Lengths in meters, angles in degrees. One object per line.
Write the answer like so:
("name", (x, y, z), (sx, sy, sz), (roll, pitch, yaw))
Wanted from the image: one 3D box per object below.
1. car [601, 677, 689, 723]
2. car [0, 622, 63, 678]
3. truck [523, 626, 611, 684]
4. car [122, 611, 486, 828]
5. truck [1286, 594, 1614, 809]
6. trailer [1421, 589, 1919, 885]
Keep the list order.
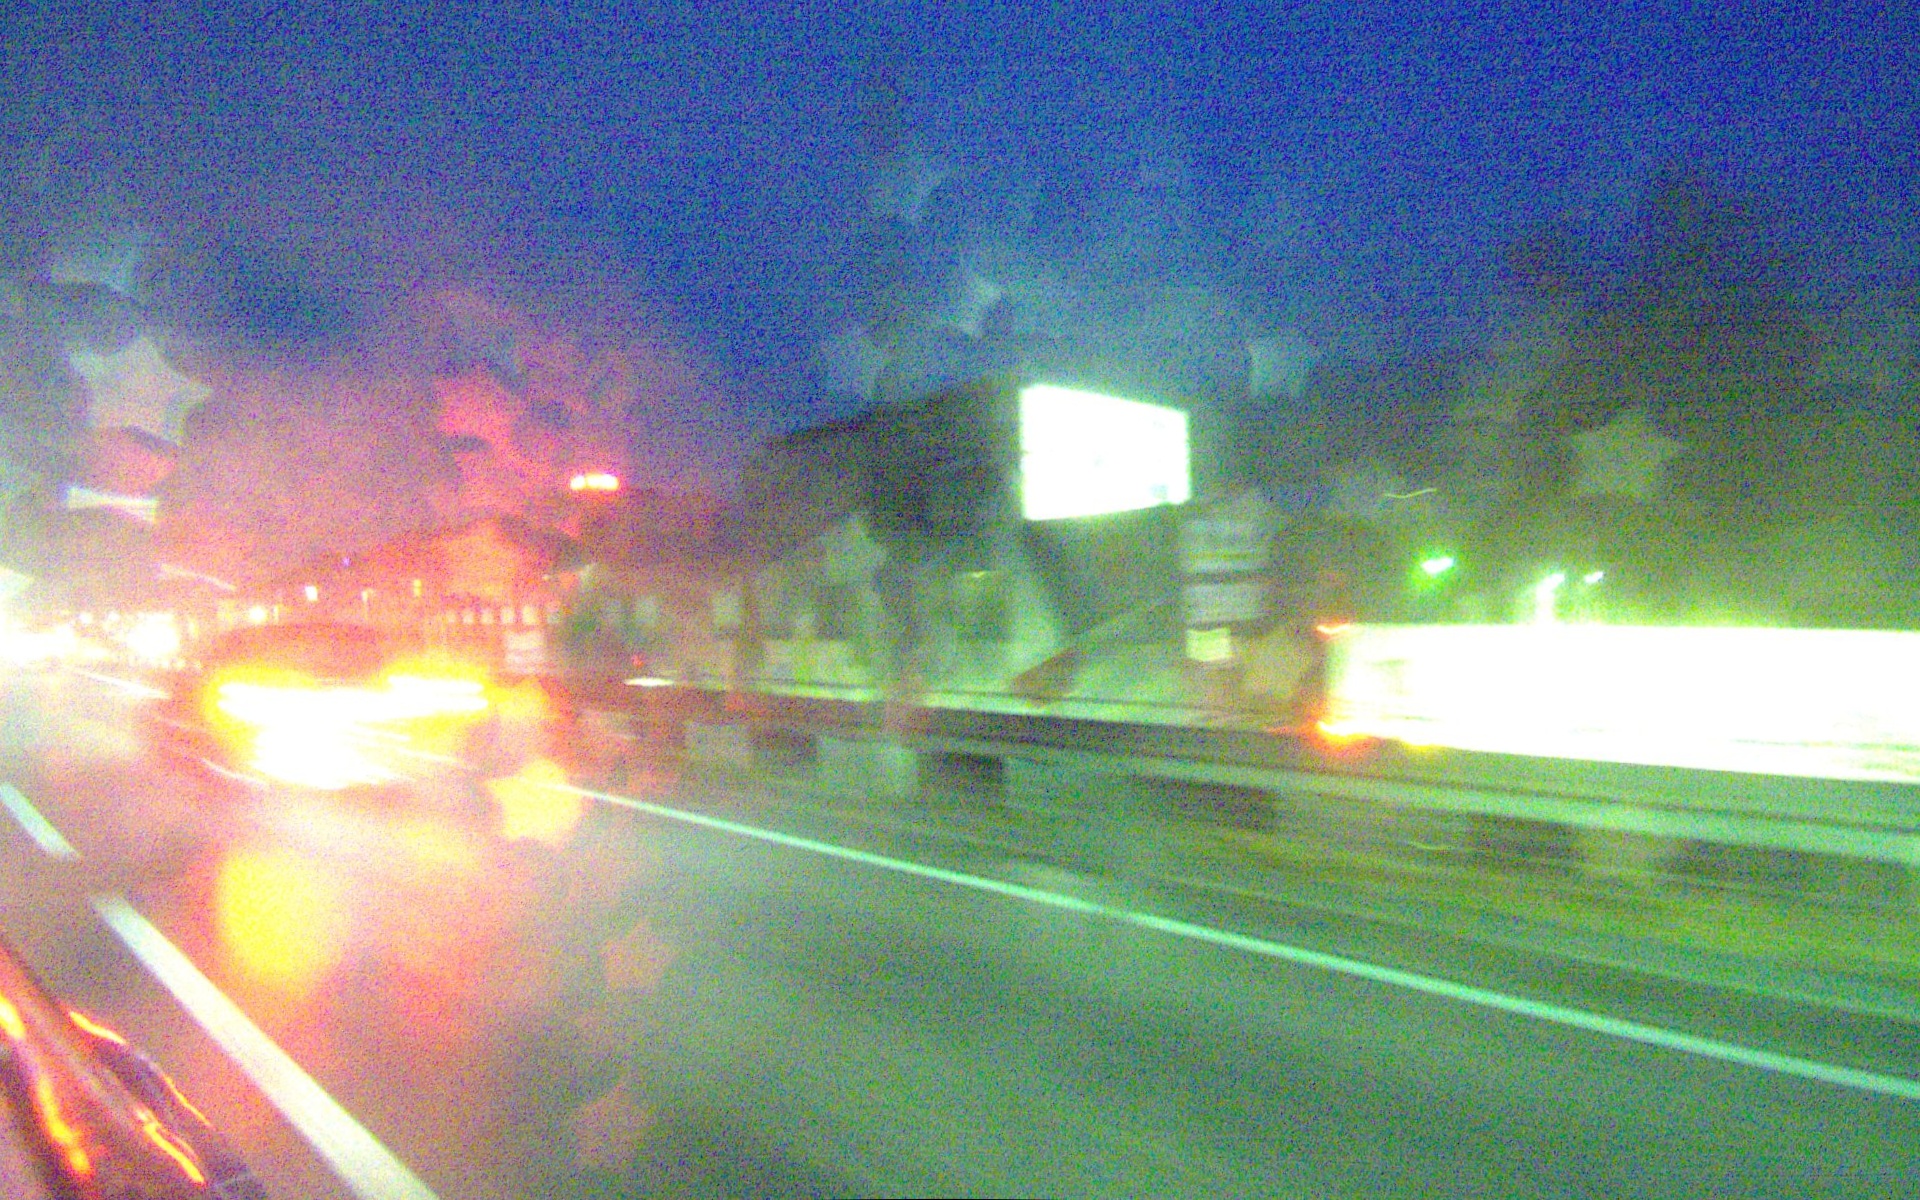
("car", (-13.941, 4.362, 44.693), (4.292, 1.688, 1.789), (-1, 0, 43))
("car", (-27.531, 1.425, 29.644), (1.617, 1.531, 3.772), (2, -2, -45))
("truck", (-25.655, 3.457, 65.847), (2.722, 3.509, 8.116), (0, -1, -41))
("car", (-5.887, 0.862, 8.927), (3.678, 1.490, 1.767), (-1, 0, 41))
("truck", (12.602, 2.332, 26.922), (3.280, 4.832, 7.343), (-1, 0, -25))
("trailer", (15.514, 2.266, 20.758), (3.280, 4.832, 11.593), (-1, 0, -25))
